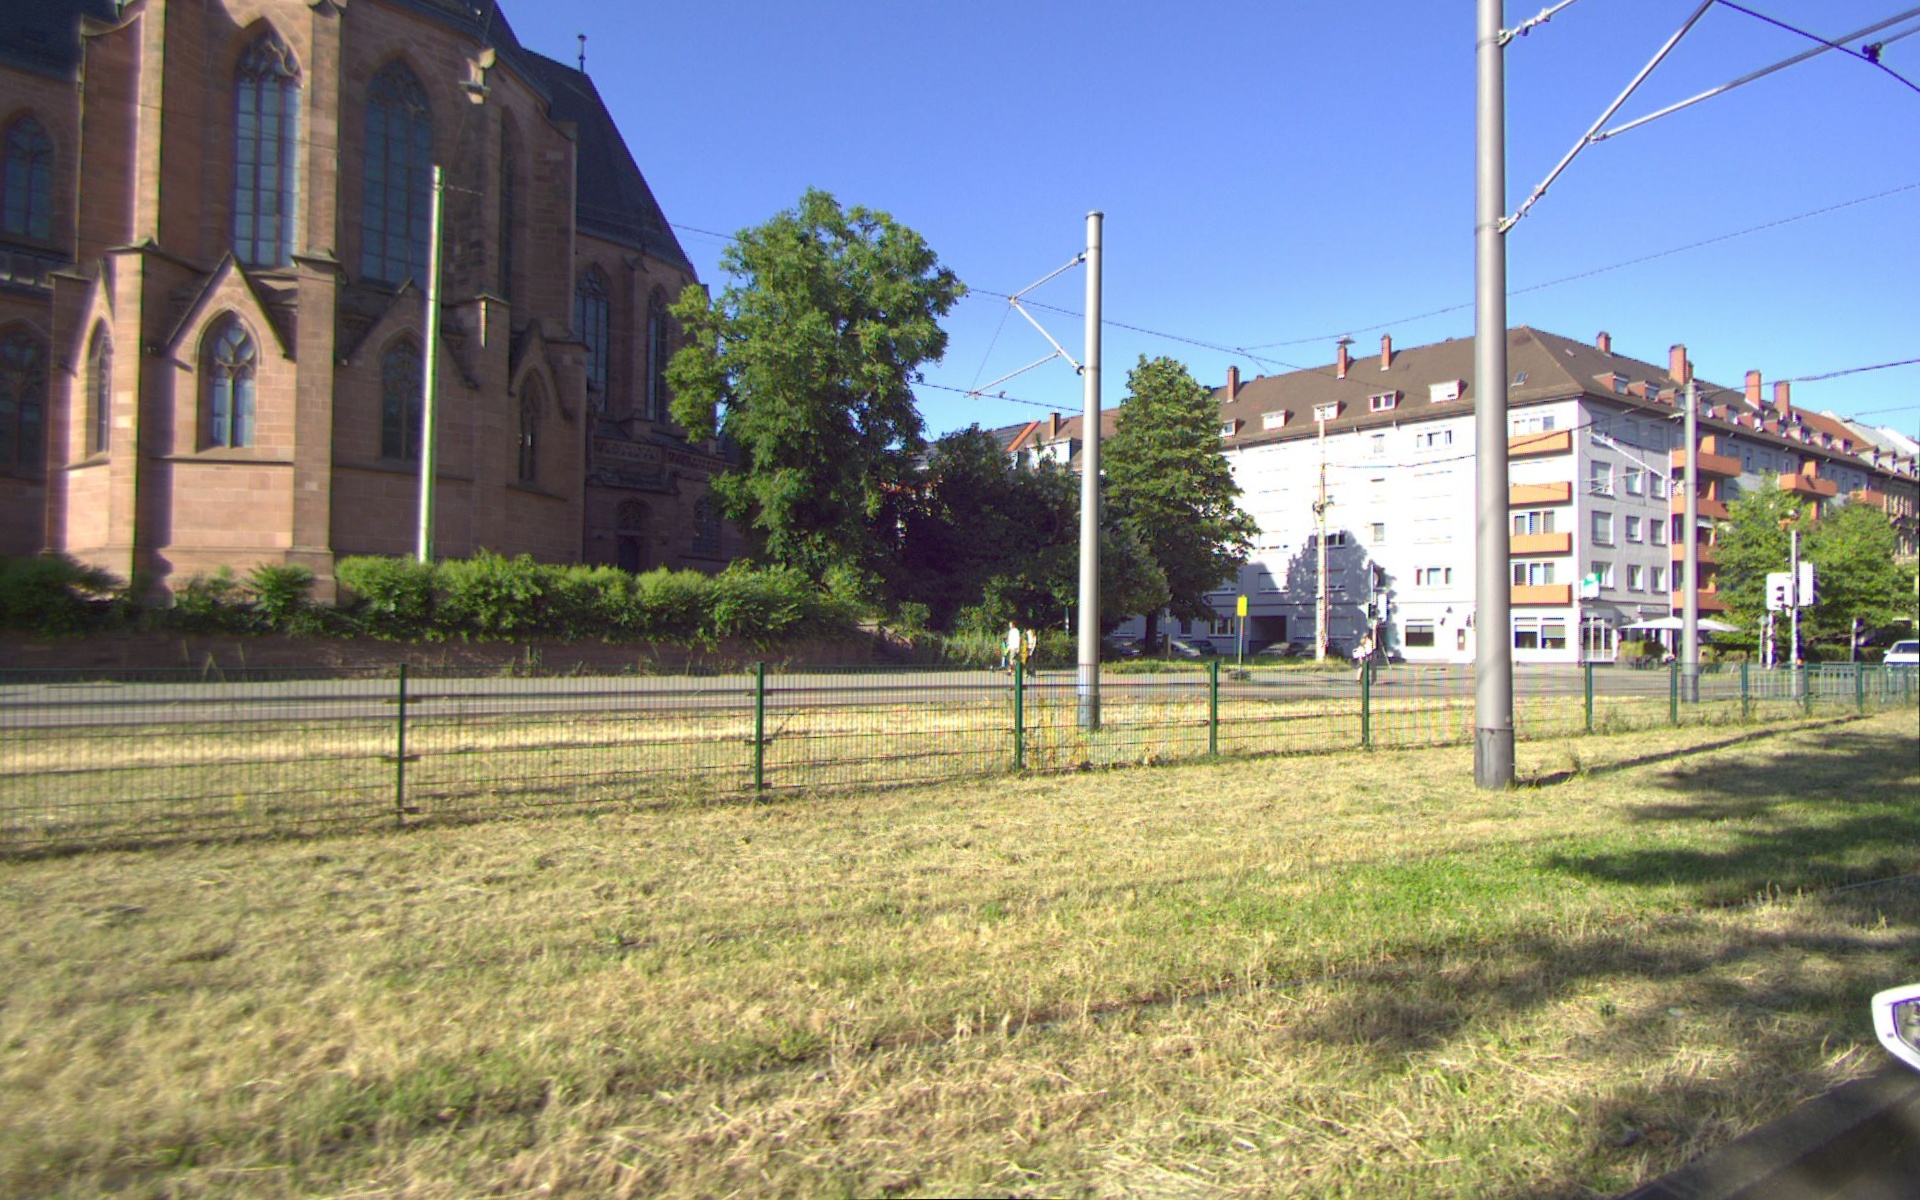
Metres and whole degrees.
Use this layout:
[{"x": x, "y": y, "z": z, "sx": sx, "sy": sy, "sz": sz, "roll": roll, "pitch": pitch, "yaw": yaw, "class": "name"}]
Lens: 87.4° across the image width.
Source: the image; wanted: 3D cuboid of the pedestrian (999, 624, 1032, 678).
[{"x": 1.893, "y": 1.743, "z": 34.510, "sx": 0.937, "sy": 1.808, "sz": 0.582, "roll": 2, "pitch": 0, "yaw": -34, "class": "pedestrian"}]

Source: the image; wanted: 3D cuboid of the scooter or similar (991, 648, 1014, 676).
[{"x": 1.529, "y": 2.220, "z": 36.086, "sx": 0.304, "sy": 0.948, "sz": 0.917, "roll": 2, "pitch": 0, "yaw": 37, "class": "scooter or similar"}]

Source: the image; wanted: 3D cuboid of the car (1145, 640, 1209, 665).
[{"x": 13.507, "y": 3.273, "z": 62.709, "sx": 1.685, "sy": 1.439, "sz": 3.633, "roll": 2, "pitch": -1, "yaw": -40, "class": "car"}]

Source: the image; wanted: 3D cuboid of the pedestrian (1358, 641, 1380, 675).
[{"x": 19.834, "y": 2.797, "z": 48.690, "sx": 0.720, "sy": 1.577, "sz": 0.653, "roll": 2, "pitch": 0, "yaw": -32, "class": "pedestrian"}]

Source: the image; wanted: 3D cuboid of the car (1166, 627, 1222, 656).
[{"x": 16.426, "y": 2.915, "z": 70.504, "sx": 3.973, "sy": 1.884, "sz": 1.974, "roll": 2, "pitch": 0, "yaw": -44, "class": "car"}]

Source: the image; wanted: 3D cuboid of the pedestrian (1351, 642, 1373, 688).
[{"x": 15.248, "y": 2.471, "z": 38.086, "sx": 0.487, "sy": 1.695, "sz": 0.751, "roll": 2, "pitch": 0, "yaw": 44, "class": "pedestrian"}]

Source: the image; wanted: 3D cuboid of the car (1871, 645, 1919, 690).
[{"x": 44.528, "y": 3.184, "z": 47.062, "sx": 4.971, "sy": 2.039, "sz": 1.978, "roll": 4, "pitch": -6, "yaw": -40, "class": "car"}]

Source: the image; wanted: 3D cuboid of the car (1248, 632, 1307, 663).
[{"x": 20.771, "y": 3.060, "z": 65.653, "sx": 3.973, "sy": 1.884, "sz": 1.974, "roll": 2, "pitch": 0, "yaw": -44, "class": "car"}]

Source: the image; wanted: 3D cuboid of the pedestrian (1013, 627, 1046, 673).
[{"x": 2.362, "y": 1.685, "z": 34.087, "sx": 0.937, "sy": 1.509, "sz": 0.582, "roll": 2, "pitch": 0, "yaw": -34, "class": "pedestrian"}]

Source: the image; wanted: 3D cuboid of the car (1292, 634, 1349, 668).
[{"x": 22.732, "y": 3.174, "z": 63.316, "sx": 3.955, "sy": 2.040, "sz": 1.801, "roll": 2, "pitch": 0, "yaw": -44, "class": "car"}]
